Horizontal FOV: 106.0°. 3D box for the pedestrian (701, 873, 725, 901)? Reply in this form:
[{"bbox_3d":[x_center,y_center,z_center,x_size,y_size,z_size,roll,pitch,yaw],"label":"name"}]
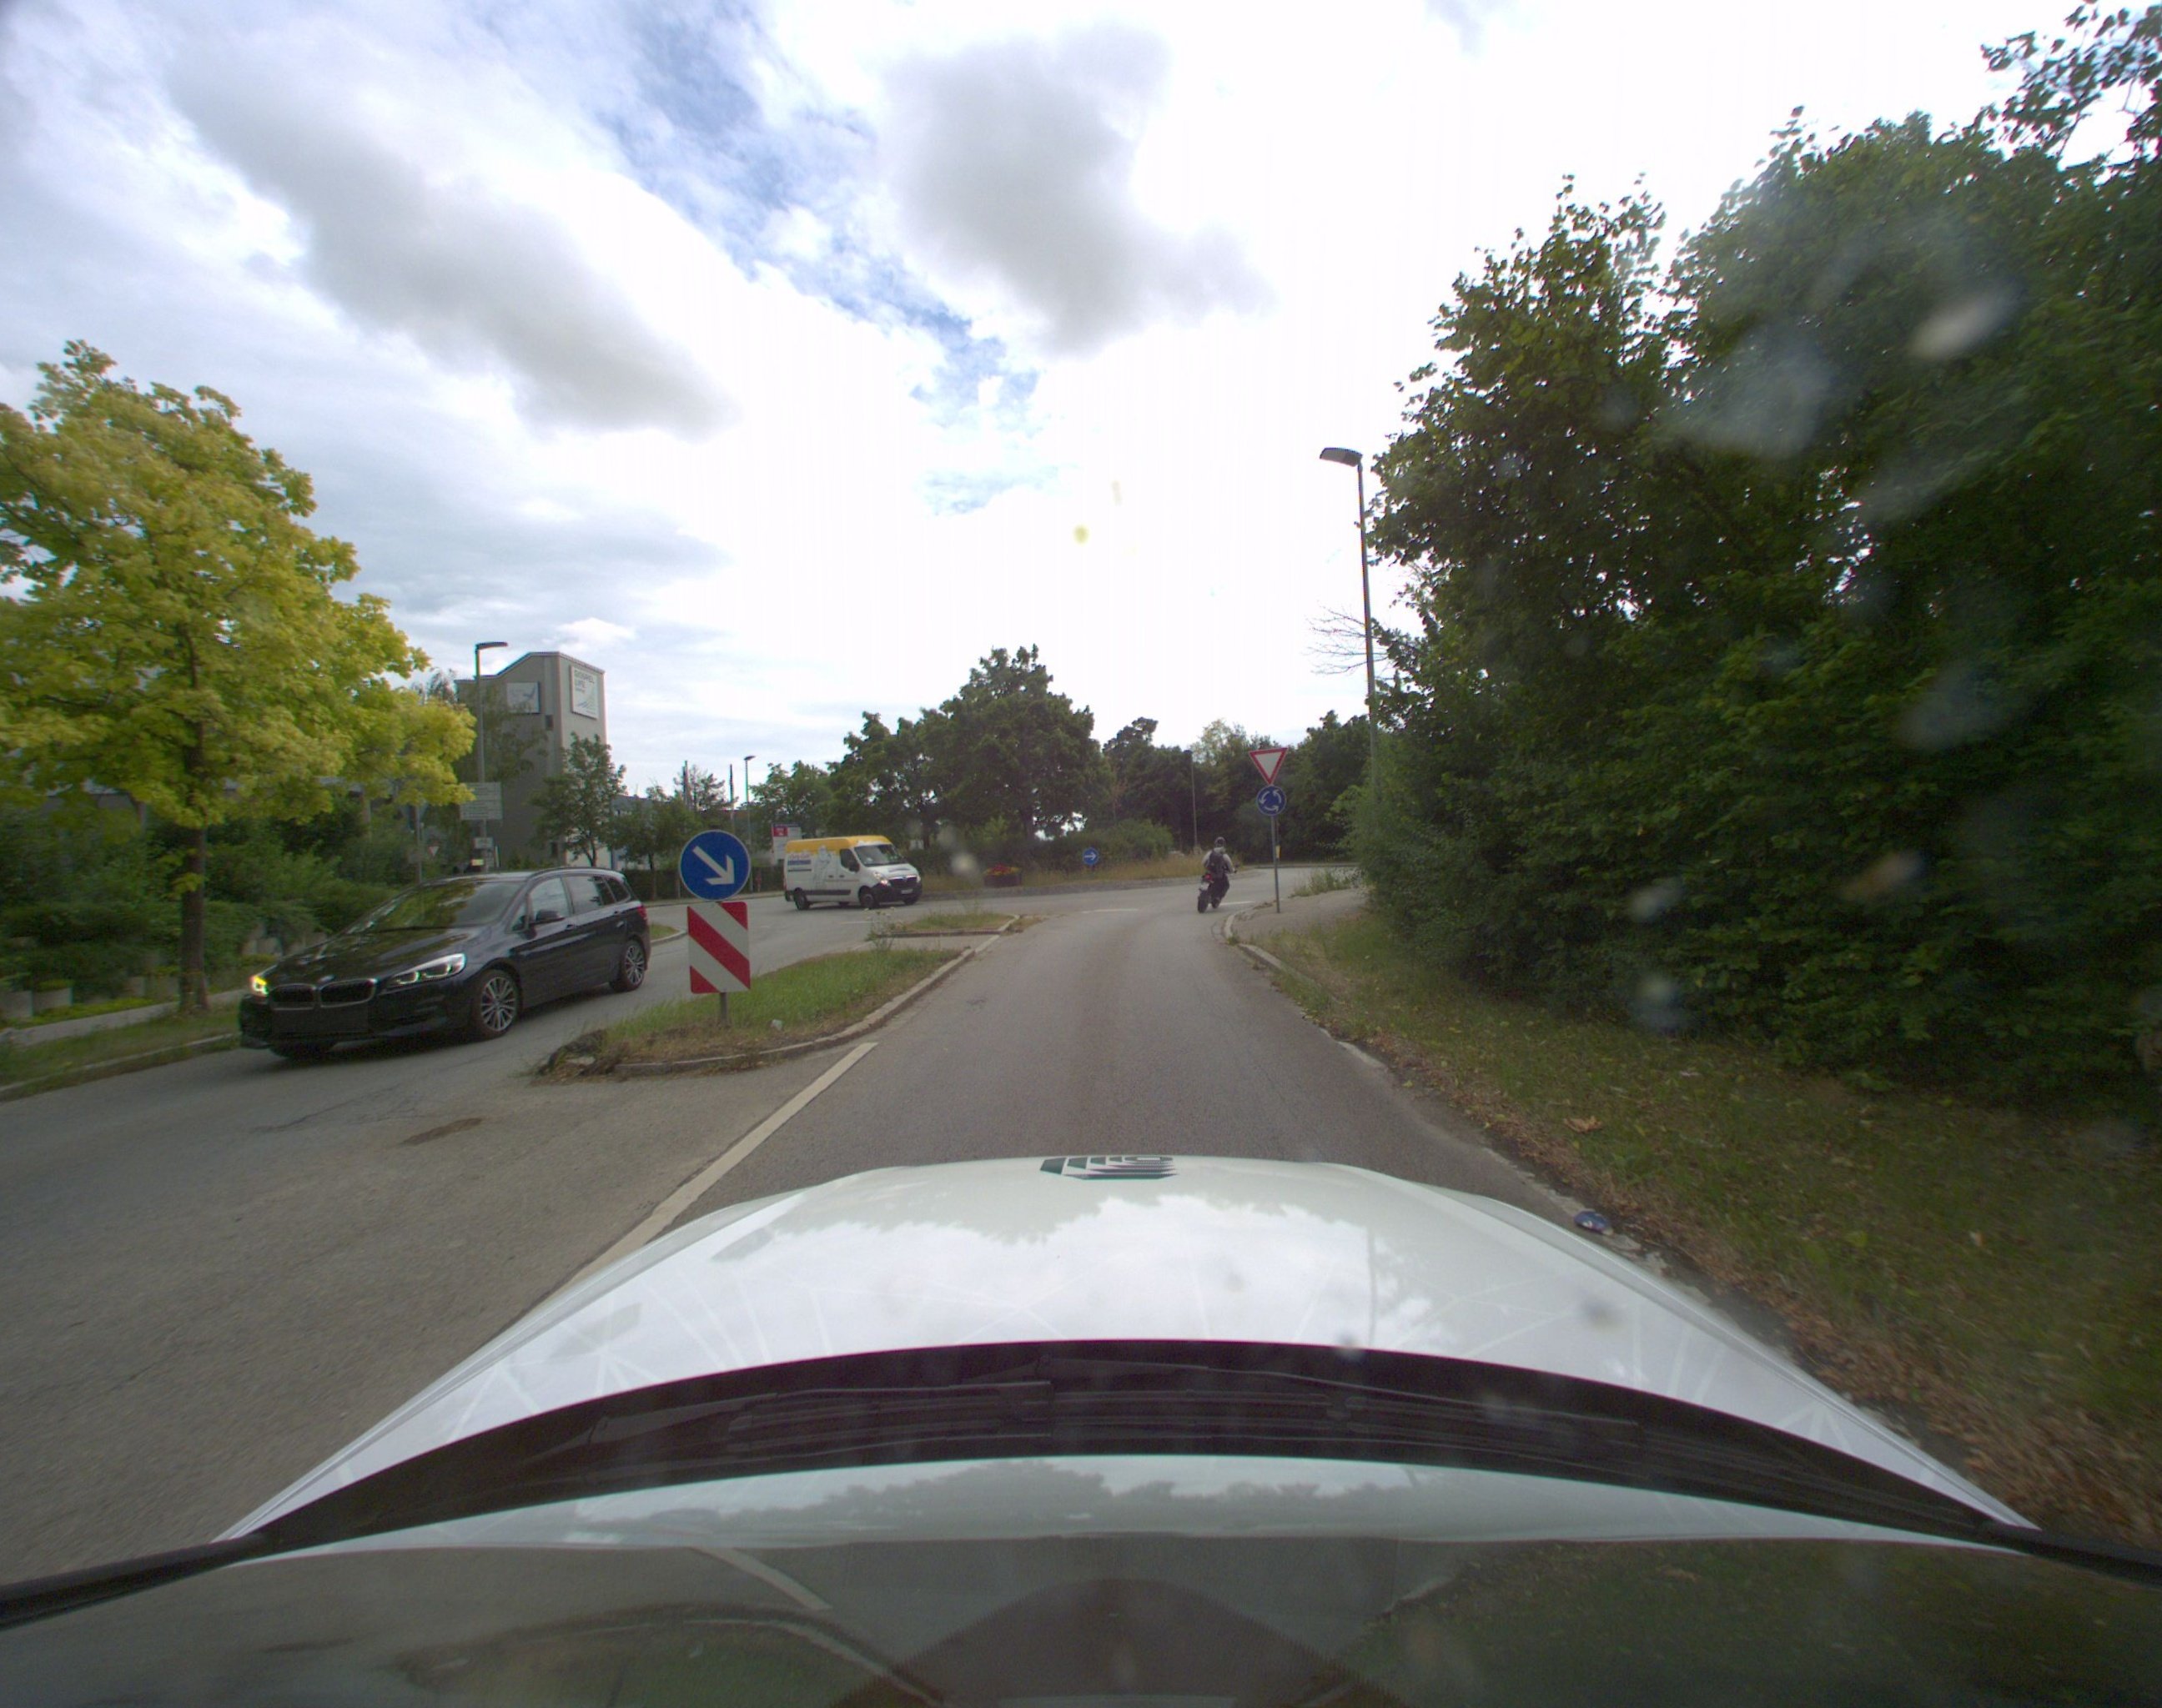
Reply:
[{"bbox_3d":[-20.482,1.842,45.302,0.624,1.468,0.955,-4,0,31],"label":"pedestrian"}]

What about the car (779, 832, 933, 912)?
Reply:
[{"bbox_3d":[-7.855,0.655,28.168,5.371,2.452,2.183,-4,0,38],"label":"car"}]

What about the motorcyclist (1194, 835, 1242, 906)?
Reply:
[{"bbox_3d":[3.287,0.384,19.480,0.854,1.623,1.197,-3,0,20],"label":"motorcyclist"}]

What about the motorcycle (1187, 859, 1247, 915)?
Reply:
[{"bbox_3d":[3.269,0.753,19.383,0.889,1.158,2.633,-3,0,20],"label":"motorcycle"}]

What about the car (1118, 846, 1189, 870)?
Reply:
[{"bbox_3d":[4.535,0.252,51.131,3.948,1.255,2.013,-3,0,38],"label":"car"}]

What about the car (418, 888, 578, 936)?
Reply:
[{"bbox_3d":[-21.697,2.136,30.441,4.444,1.347,1.935,-4,1,-2],"label":"car"}]

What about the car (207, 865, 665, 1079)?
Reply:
[{"bbox_3d":[-6.439,0.994,8.928,1.736,1.585,4.347,-5,0,-6],"label":"car"}]
